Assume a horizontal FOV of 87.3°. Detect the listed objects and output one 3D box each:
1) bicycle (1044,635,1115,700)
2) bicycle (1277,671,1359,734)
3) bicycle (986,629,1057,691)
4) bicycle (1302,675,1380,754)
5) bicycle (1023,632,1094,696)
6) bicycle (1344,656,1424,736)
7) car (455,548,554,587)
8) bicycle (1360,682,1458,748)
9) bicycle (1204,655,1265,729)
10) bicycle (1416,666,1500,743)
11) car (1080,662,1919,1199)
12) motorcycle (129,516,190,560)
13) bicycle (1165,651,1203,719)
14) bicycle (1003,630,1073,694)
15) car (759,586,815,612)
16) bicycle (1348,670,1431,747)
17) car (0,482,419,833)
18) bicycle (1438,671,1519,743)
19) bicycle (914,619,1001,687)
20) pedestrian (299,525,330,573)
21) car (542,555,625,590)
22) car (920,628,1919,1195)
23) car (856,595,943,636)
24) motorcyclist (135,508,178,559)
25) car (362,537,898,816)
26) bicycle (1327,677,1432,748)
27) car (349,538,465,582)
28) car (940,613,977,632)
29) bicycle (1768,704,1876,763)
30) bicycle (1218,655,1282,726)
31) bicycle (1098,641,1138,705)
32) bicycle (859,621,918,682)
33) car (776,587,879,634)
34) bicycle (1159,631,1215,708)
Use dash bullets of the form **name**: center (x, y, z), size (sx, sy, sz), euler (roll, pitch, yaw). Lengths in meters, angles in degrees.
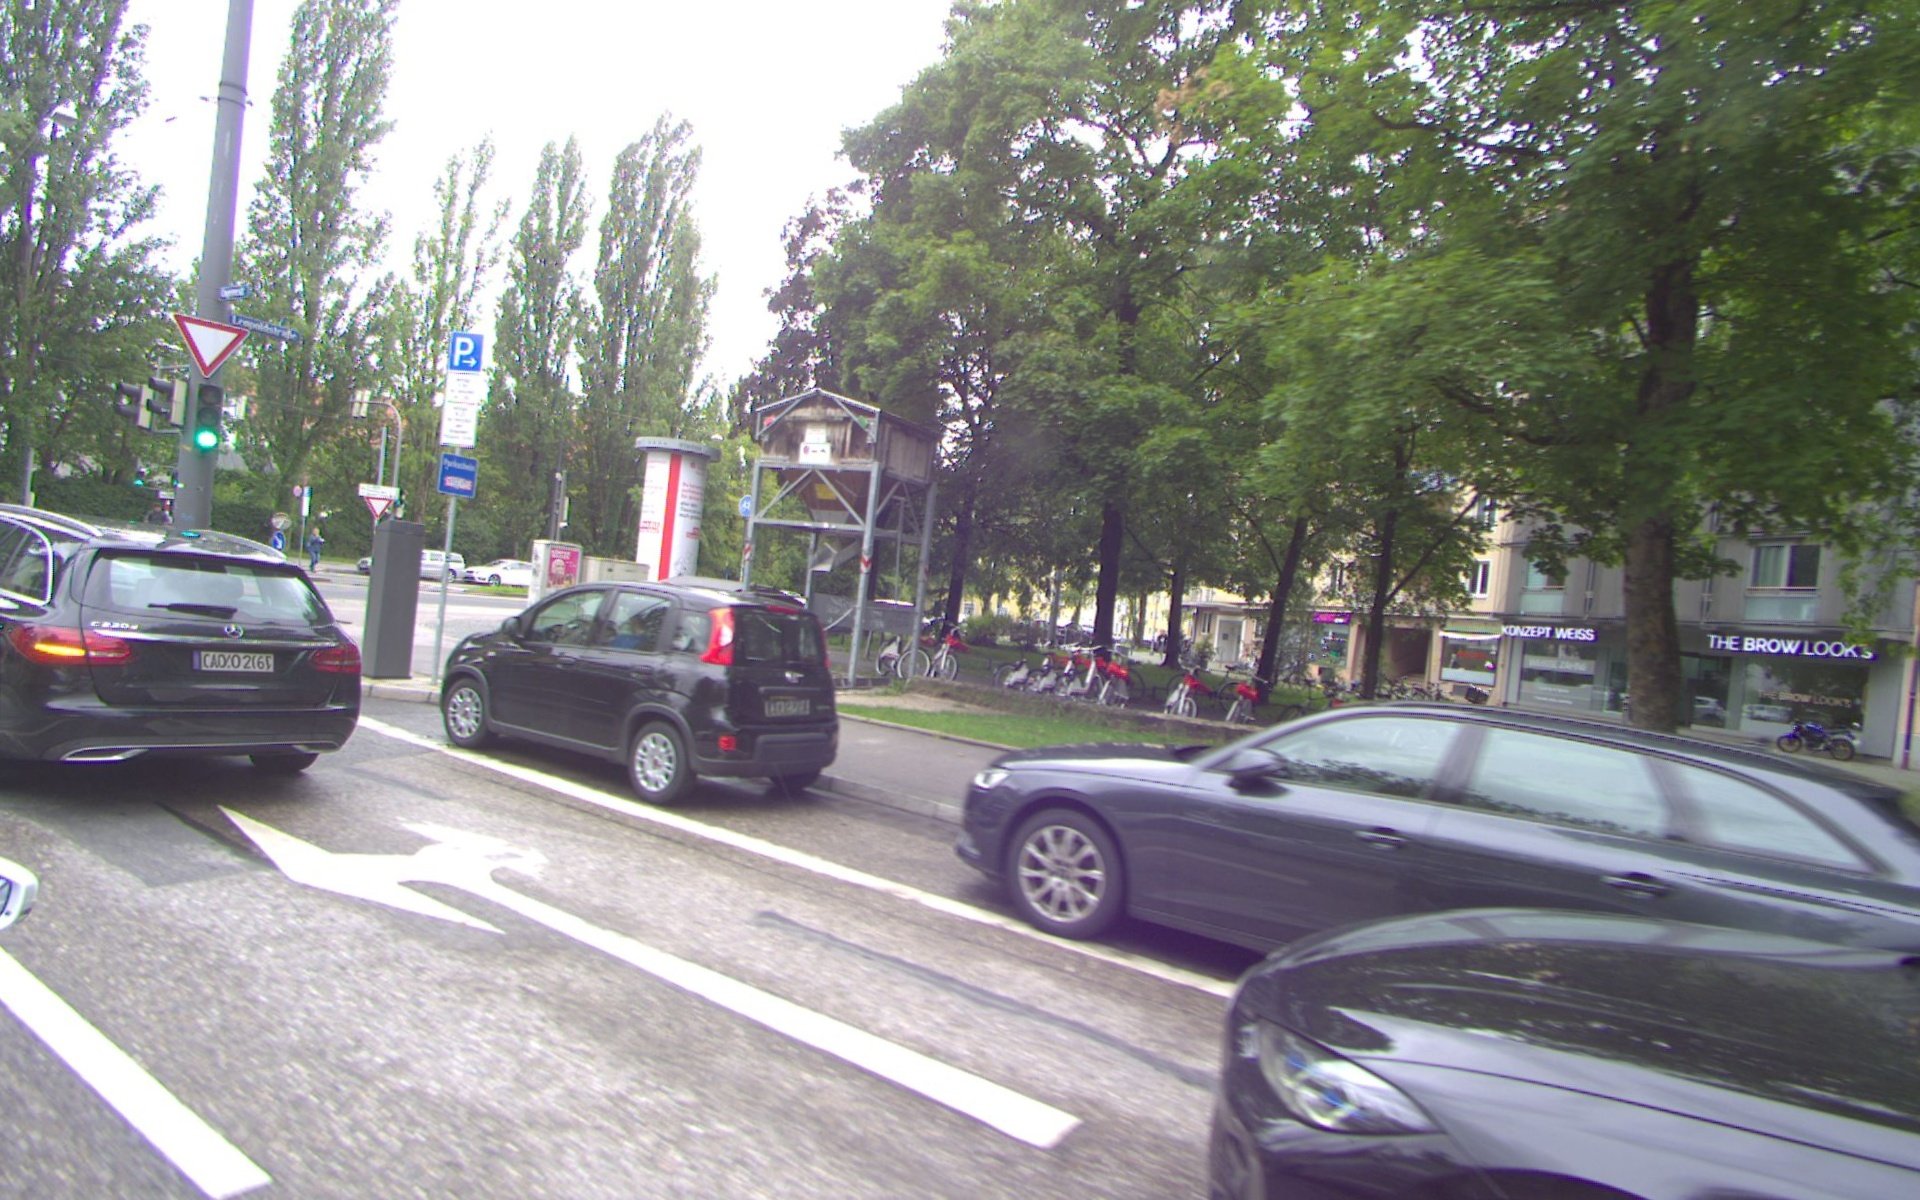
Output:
- **bicycle**: center (1.870, 1.061, 15.615), size (0.308, 0.904, 1.408), euler (6, -2, 38)
- **bicycle**: center (5.995, 1.723, 16.821), size (1.395, 0.904, 0.311), euler (8, -1, -25)
- **bicycle**: center (1.011, 0.986, 16.324), size (0.308, 0.904, 1.408), euler (6, -2, 38)
- **bicycle**: center (5.109, 1.516, 13.549), size (0.307, 0.904, 1.412), euler (7, -2, -5)
- **bicycle**: center (1.570, 1.023, 15.851), size (0.308, 0.904, 1.408), euler (6, -2, 38)
- **bicycle**: center (9.086, 2.022, 21.686), size (0.619, 1.374, 2.467), euler (6, 2, 3)
- **car**: center (-23.134, -1.621, 51.246), size (1.757, 1.504, 4.250), euler (6, 0, 30)
- **bicycle**: center (7.493, 1.904, 16.820), size (1.392, 0.904, 0.312), euler (5, -2, 38)
- **bicycle**: center (5.711, 1.883, 21.080), size (0.619, 1.372, 2.471), euler (6, -2, 4)
- **bicycle**: center (11.144, 2.309, 22.622), size (0.619, 1.374, 2.467), euler (6, 2, 3)
- **car**: center (2.698, 1.102, 1.431), size (4.722, 1.407, 1.724), euler (6, 0, 34)
- **motorcycle**: center (-25.067, -1.938, 31.504), size (1.994, 1.183, 0.630), euler (6, -1, 27)
- **bicycle**: center (3.353, 1.253, 15.133), size (0.307, 0.905, 1.413), euler (6, 0, 6)
- **bicycle**: center (1.262, 1.007, 16.104), size (0.308, 0.904, 1.408), euler (6, -2, 38)
- **car**: center (-12.459, -0.047, 72.738), size (1.755, 1.504, 4.134), euler (6, 0, 27)
- **bicycle**: center (5.784, 1.438, 13.613), size (0.307, 0.904, 1.412), euler (7, -2, -5)
- **car**: center (-5.749, 0.137, 6.464), size (4.626, 1.567, 1.866), euler (6, -2, 33)
- **bicycle**: center (12.542, 2.552, 24.422), size (0.619, 1.374, 2.467), euler (6, 2, 3)
- **bicycle**: center (-0.009, 0.936, 17.181), size (0.619, 1.028, 2.241), euler (6, -2, 21)
- **pedestrian**: center (-23.902, -1.872, 37.260), size (0.692, 1.682, 0.550), euler (7, -1, -18)
- **car**: center (-20.911, -1.495, 55.972), size (1.755, 1.504, 4.134), euler (6, 0, 27)
- **car**: center (2.250, 1.163, 5.048), size (4.564, 1.479, 1.770), euler (6, 0, 30)
- **car**: center (-2.591, 0.699, 44.102), size (1.701, 1.424, 4.369), euler (6, 0, 27)
- **motorcyclist**: center (-25.227, -2.093, 31.592), size (0.866, 1.460, 0.620), euler (6, -1, 27)
- **car**: center (-2.930, 0.485, 8.540), size (4.480, 1.568, 1.832), euler (6, 0, 33)
- **bicycle**: center (6.507, 1.736, 15.632), size (1.392, 0.904, 0.312), euler (5, -2, 38)
- **car**: center (-25.548, -1.828, 46.590), size (1.757, 1.504, 4.344), euler (6, 0, 30)
- **car**: center (-0.137, 2.235, 97.658), size (1.755, 1.504, 4.134), euler (6, 0, 27)
- **bicycle**: center (24.123, 3.715, 28.197), size (0.500, 1.304, 2.239), euler (7, -2, -21)
- **bicycle**: center (4.175, 1.285, 14.568), size (0.307, 0.904, 1.412), euler (7, -2, -5)
- **bicycle**: center (2.405, 1.110, 15.246), size (0.307, 0.904, 1.414), euler (6, -2, 18)
- **bicycle**: center (-1.272, 0.883, 17.585), size (0.310, 0.905, 1.400), euler (7, 0, -32)
- **car**: center (-5.082, 0.439, 39.120), size (1.701, 1.424, 4.369), euler (6, 0, 27)
- **bicycle**: center (4.677, 1.397, 20.874), size (0.619, 1.374, 2.469), euler (6, 1, 4)
